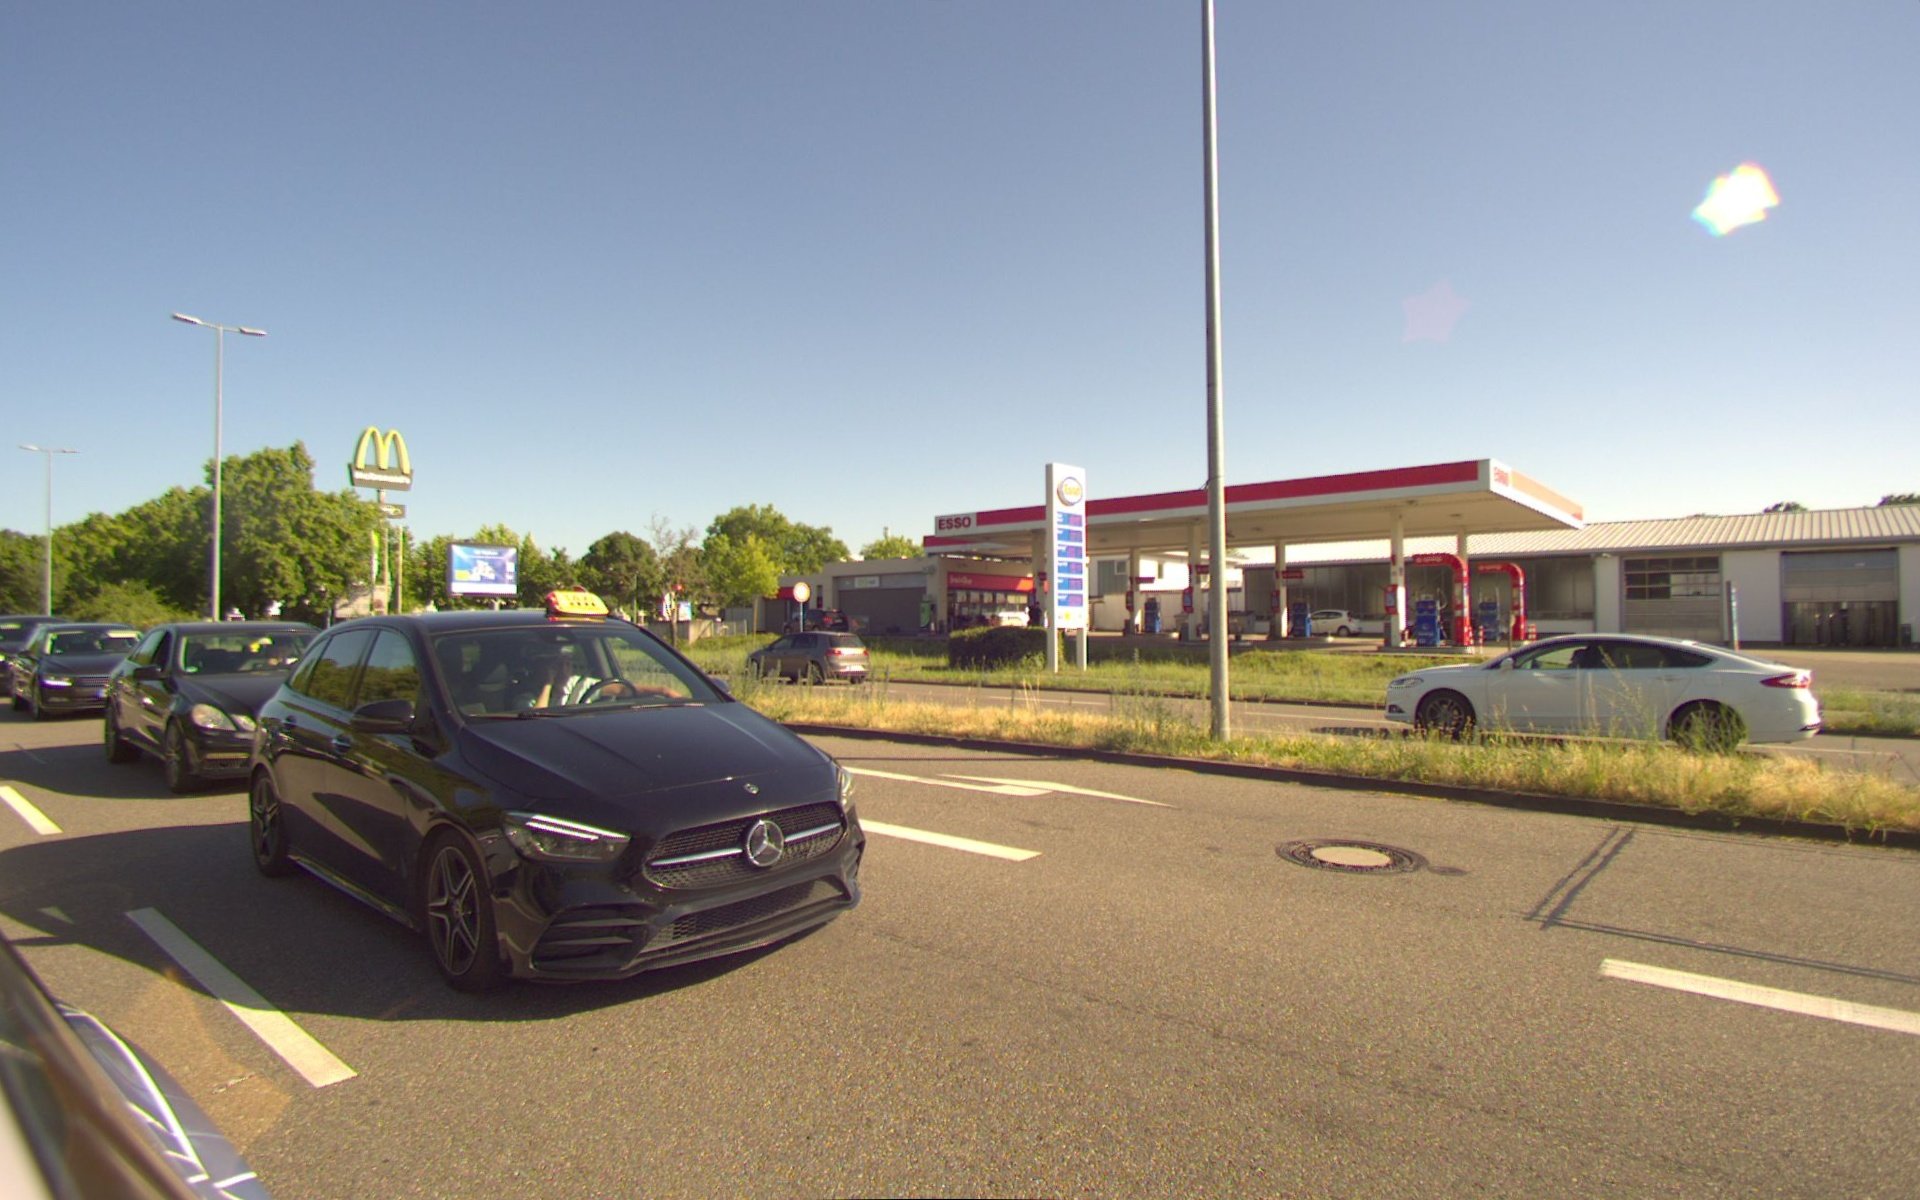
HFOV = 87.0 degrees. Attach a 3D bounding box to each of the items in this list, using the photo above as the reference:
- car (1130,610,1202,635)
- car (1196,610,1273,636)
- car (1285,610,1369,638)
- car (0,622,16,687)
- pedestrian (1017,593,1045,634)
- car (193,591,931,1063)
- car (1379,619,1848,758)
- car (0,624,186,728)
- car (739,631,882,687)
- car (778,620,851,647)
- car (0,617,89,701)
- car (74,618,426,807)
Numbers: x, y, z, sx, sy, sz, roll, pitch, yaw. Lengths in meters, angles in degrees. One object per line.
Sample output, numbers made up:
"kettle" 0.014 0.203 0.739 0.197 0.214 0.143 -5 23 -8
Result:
"car" 12.452 1.391 61.373 3.975 1.420 1.661 -1 -4 40
"car" 15.849 1.347 58.573 3.975 1.420 1.661 -1 -4 40
"car" 19.852 1.296 54.832 3.975 1.420 1.661 -1 -4 40
"car" -25.209 1.370 25.532 3.774 1.567 1.615 -1 -1 40
"pedestrian" 3.154 0.589 44.937 0.903 1.763 0.780 -1 0 41
"car" -2.369 0.739 5.326 4.400 1.502 1.741 -1 0 40
"car" 8.254 1.052 13.212 4.872 1.502 1.742 -1 -4 38
"car" -14.437 1.155 16.685 4.284 1.438 1.775 -1 0 40
"car" -4.198 1.622 28.189 3.975 1.420 1.741 -1 -4 40
"car" -7.909 1.798 54.715 3.975 1.420 1.661 -1 -4 40
"car" -19.947 1.205 21.454 3.876 1.629 1.653 -2 -1 40
"car" -7.246 0.932 10.153 4.400 1.449 1.845 -1 0 40
